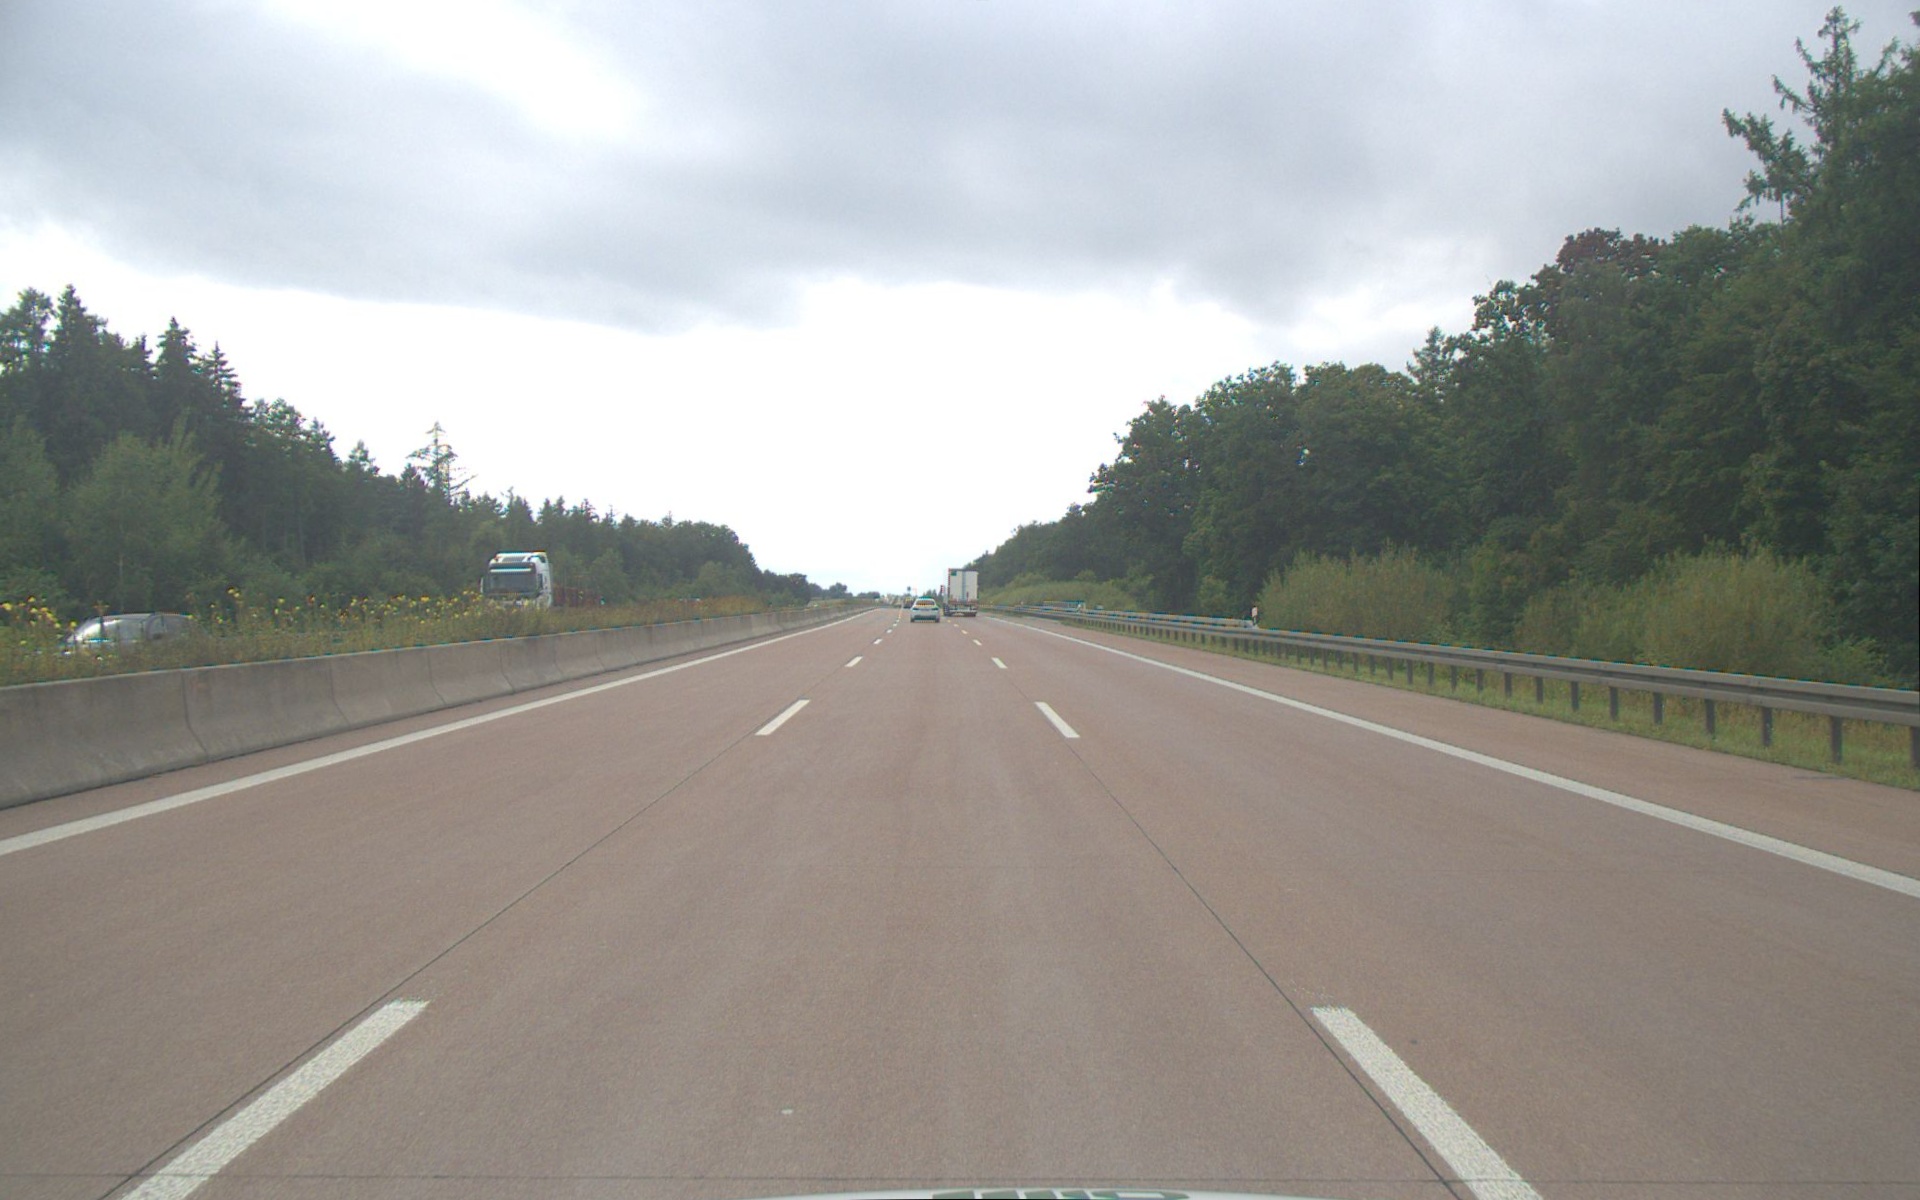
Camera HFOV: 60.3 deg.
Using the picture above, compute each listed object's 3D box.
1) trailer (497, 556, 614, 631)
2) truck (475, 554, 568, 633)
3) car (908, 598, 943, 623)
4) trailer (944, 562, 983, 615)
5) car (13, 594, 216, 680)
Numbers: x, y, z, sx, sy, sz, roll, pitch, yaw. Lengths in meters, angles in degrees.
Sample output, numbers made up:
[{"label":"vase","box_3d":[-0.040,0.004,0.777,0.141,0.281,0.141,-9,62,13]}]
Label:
[{"label":"trailer","box_3d":[-20.387,-0.323,84.319,2.874,3.479,13.267,1,0,-1]},{"label":"truck","box_3d":[-20.247,-0.308,76.649,2.874,3.479,5.343,1,0,-1]},{"label":"car","box_3d":[-2.189,0.652,105.268,2.119,1.476,4.718,1,0,-1]},{"label":"trailer","box_3d":[0.204,-0.932,144.565,2.862,4.369,13.607,0,0,-2]},{"label":"car","box_3d":[-15.265,0.631,30.094,1.713,1.459,3.892,0,0,-1]}]
